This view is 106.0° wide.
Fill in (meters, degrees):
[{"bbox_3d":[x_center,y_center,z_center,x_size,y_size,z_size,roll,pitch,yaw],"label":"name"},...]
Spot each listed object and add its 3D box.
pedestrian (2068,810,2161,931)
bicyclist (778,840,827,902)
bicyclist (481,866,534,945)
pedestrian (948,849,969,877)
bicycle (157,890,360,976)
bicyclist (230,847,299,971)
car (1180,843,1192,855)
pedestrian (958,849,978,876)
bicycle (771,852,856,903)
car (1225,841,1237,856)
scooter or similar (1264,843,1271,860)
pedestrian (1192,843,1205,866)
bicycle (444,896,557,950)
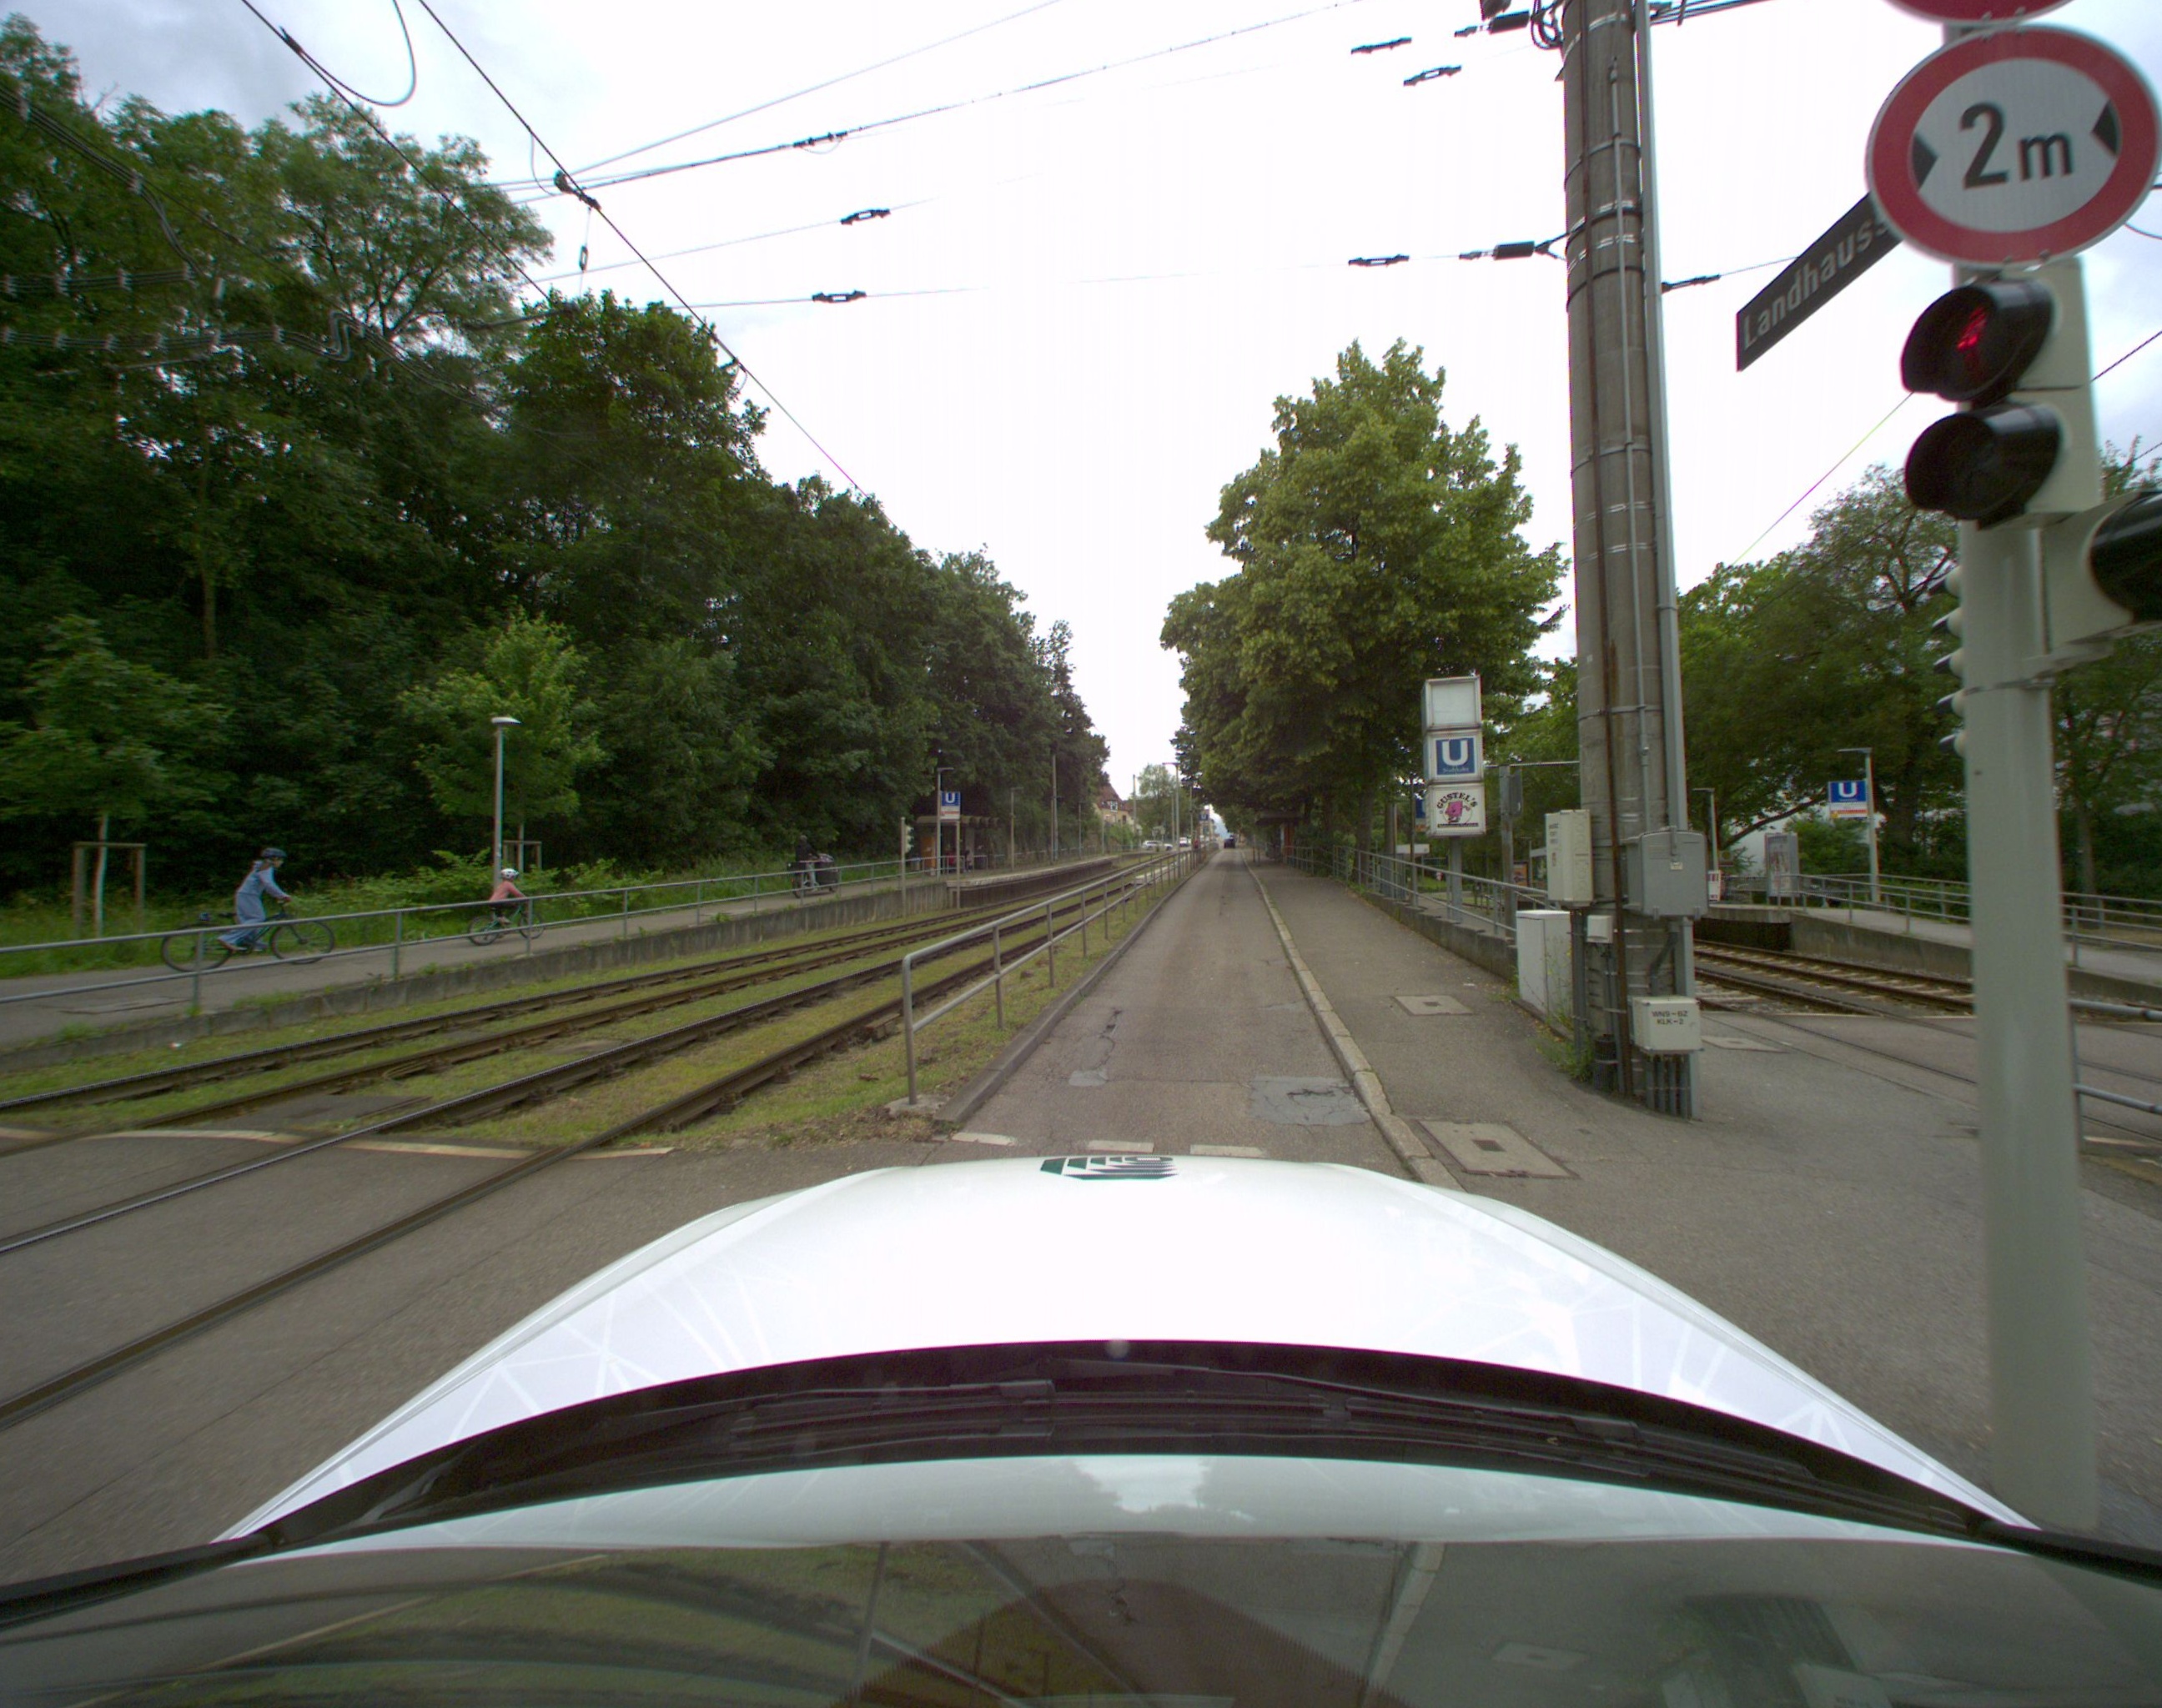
[{"bbox_3d":[14.851,0.243,11.604,0.731,1.665,0.683,2,-2,8],"label":"pedestrian"},{"bbox_3d":[-7.992,0.457,23.418,0.728,1.711,1.297,2,2,13],"label":"bicyclist"},{"bbox_3d":[-9.979,0.874,14.178,0.449,1.301,0.584,2,3,24],"label":"bicyclist"},{"bbox_3d":[-6.037,0.430,40.271,0.767,1.326,0.789,2,0,10],"label":"pedestrian"},{"bbox_3d":[-11.448,1.060,11.403,0.469,1.041,1.957,2,1,41],"label":"bicycle"},{"bbox_3d":[-11.435,0.745,11.412,0.469,1.674,0.627,2,0,41],"label":"bicyclist"},{"bbox_3d":[20.623,-1.055,160.025,1.981,2.146,4.011,2,-2,10],"label":"car"},{"bbox_3d":[-5.741,0.431,41.388,0.767,1.326,0.789,2,-2,10],"label":"pedestrian"},{"bbox_3d":[-7.824,0.653,24.072,0.728,1.289,3.359,2,2,13],"label":"bicycle"},{"bbox_3d":[24.514,-0.884,133.103,1.981,2.146,4.011,2,-2,10],"label":"car"},{"bbox_3d":[13.072,-0.196,57.120,0.341,1.157,1.148,2,-2,5],"label":"scooter or similar"},{"bbox_3d":[7.391,0.038,51.394,0.737,1.409,0.749,2,2,10],"label":"pedestrian"},{"bbox_3d":[-10.016,1.166,14.109,0.449,0.738,1.568,2,3,24],"label":"bicycle"}]
